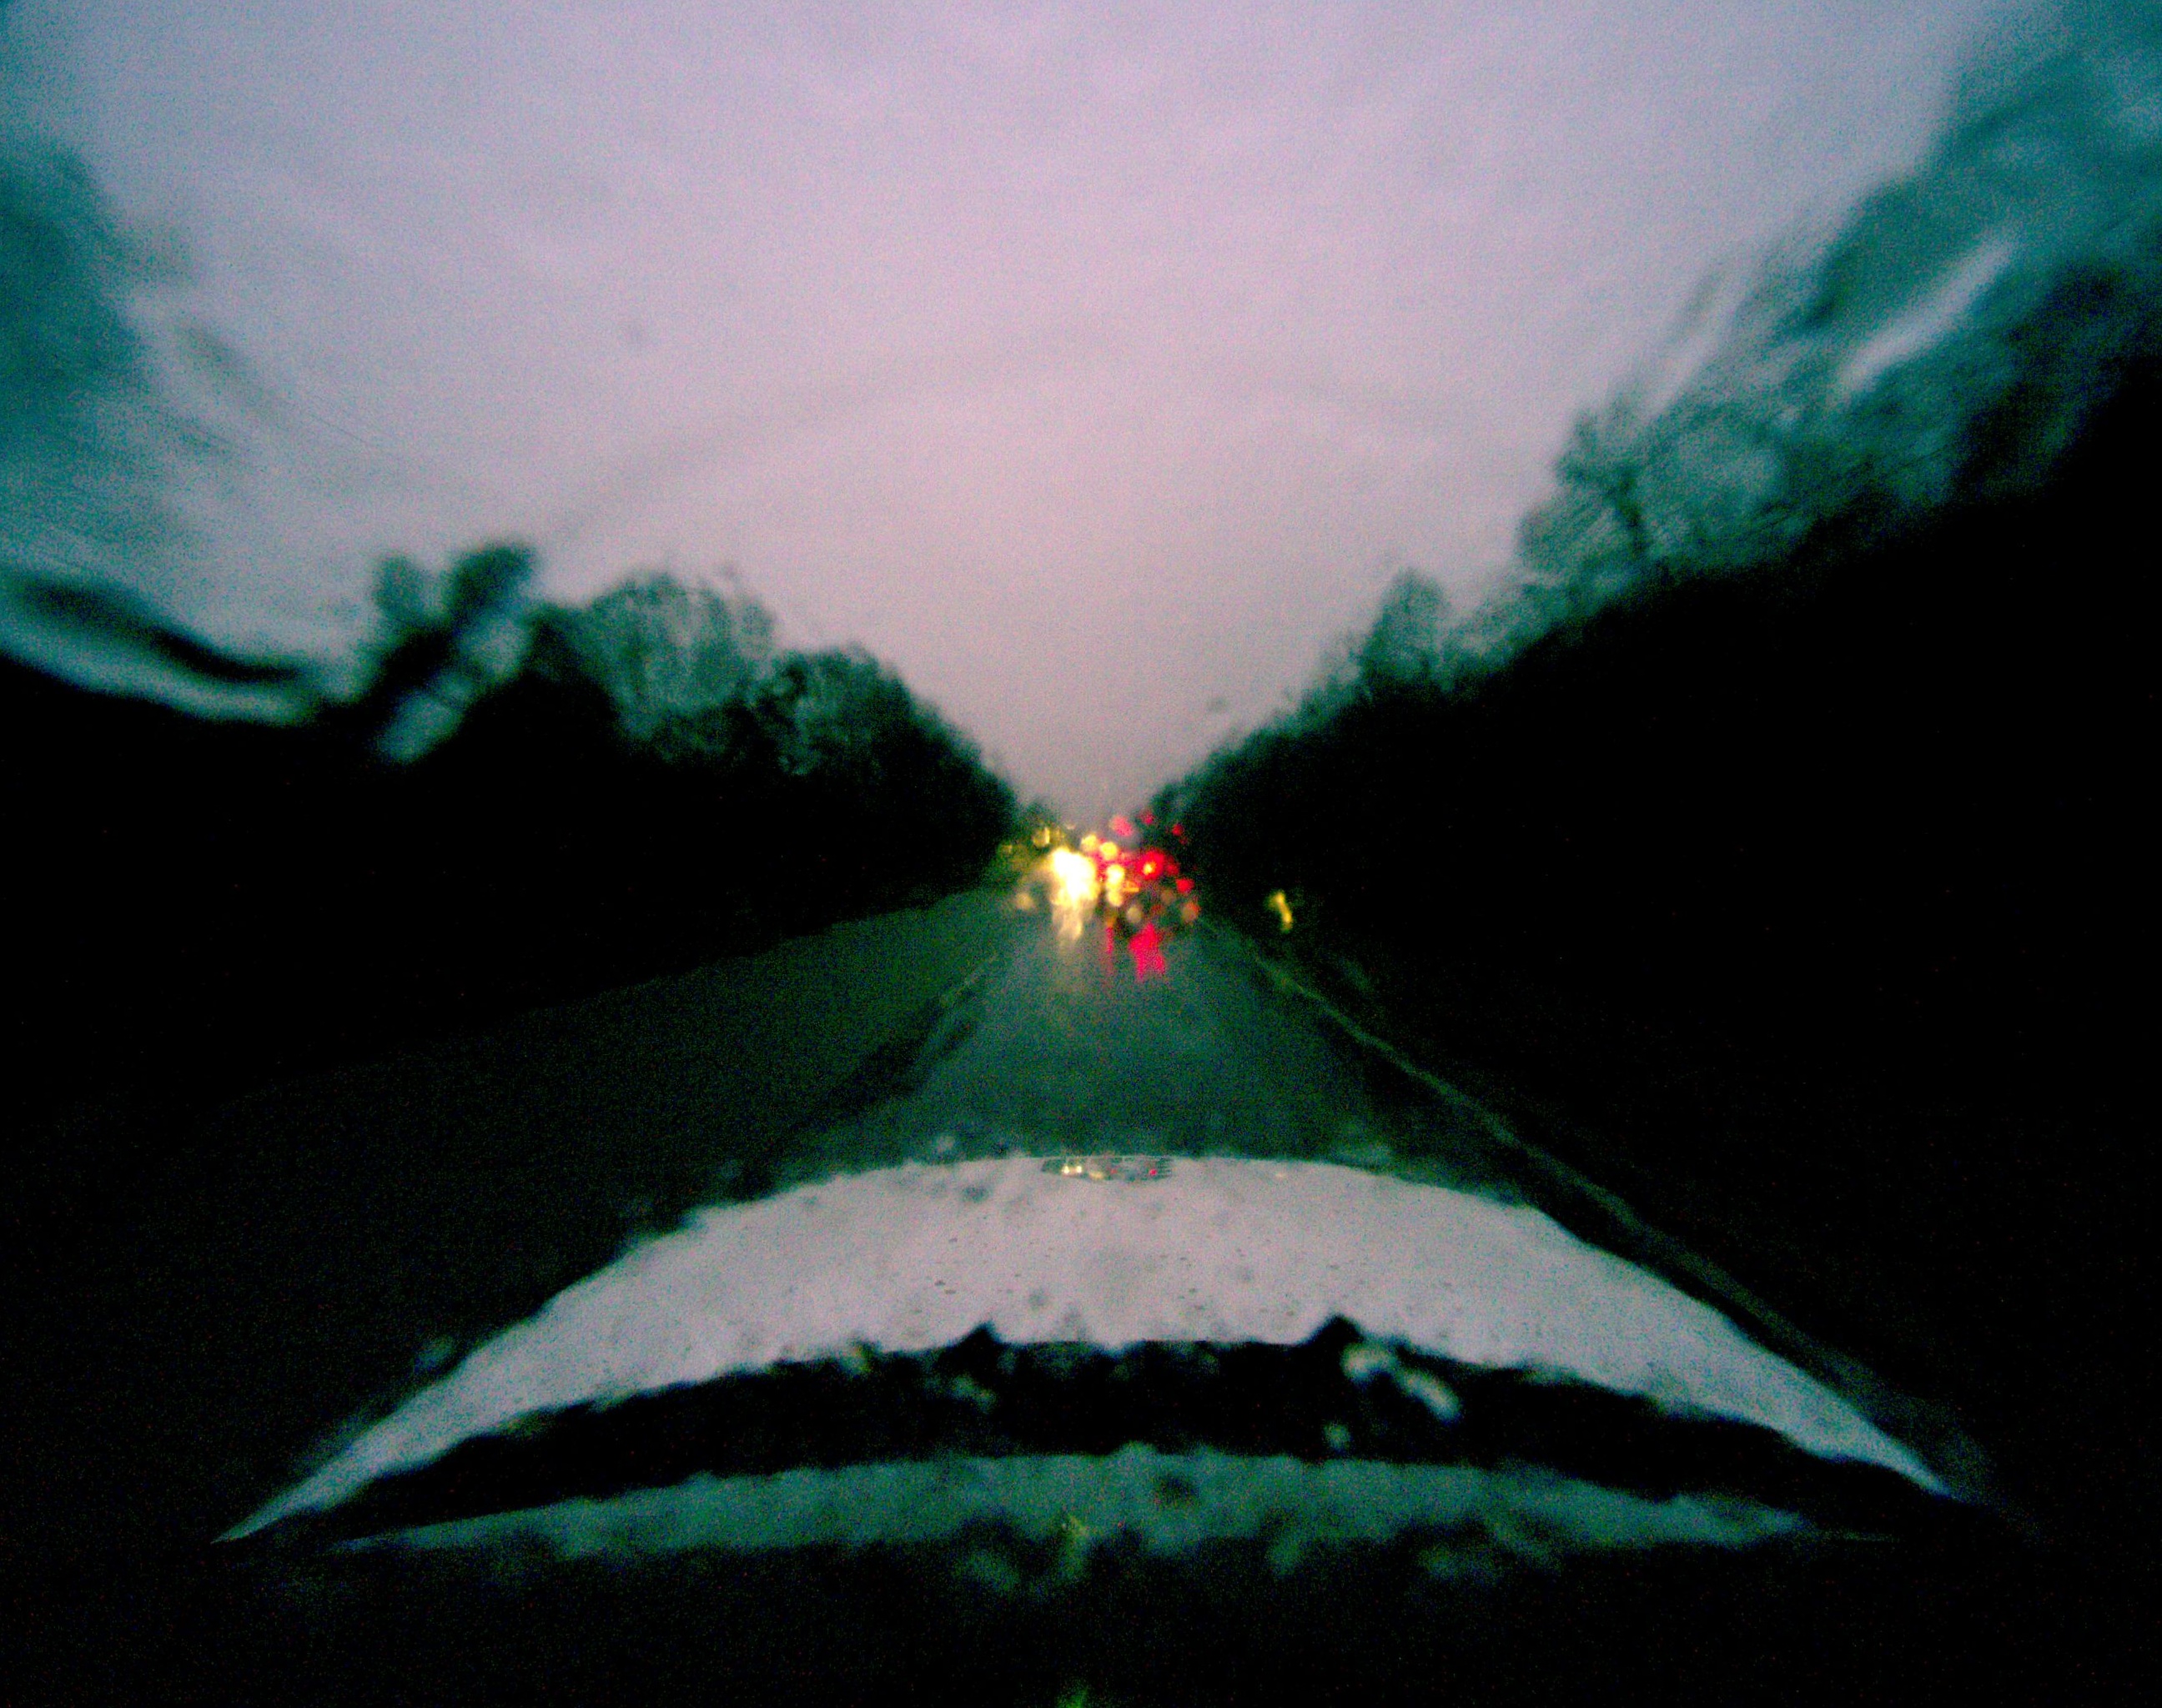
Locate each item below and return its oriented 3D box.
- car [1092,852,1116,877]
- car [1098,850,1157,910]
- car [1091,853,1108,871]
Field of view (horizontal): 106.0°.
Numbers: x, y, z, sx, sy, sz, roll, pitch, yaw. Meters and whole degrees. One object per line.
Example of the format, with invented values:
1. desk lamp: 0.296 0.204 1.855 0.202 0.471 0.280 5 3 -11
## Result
1. car: 1.700 0.762 61.021 1.727 1.779 4.001 -1 0 1
2. car: 1.429 0.750 24.925 1.641 1.672 3.517 -1 0 3
3. car: 1.971 0.808 85.815 1.727 1.779 4.001 -1 0 1
